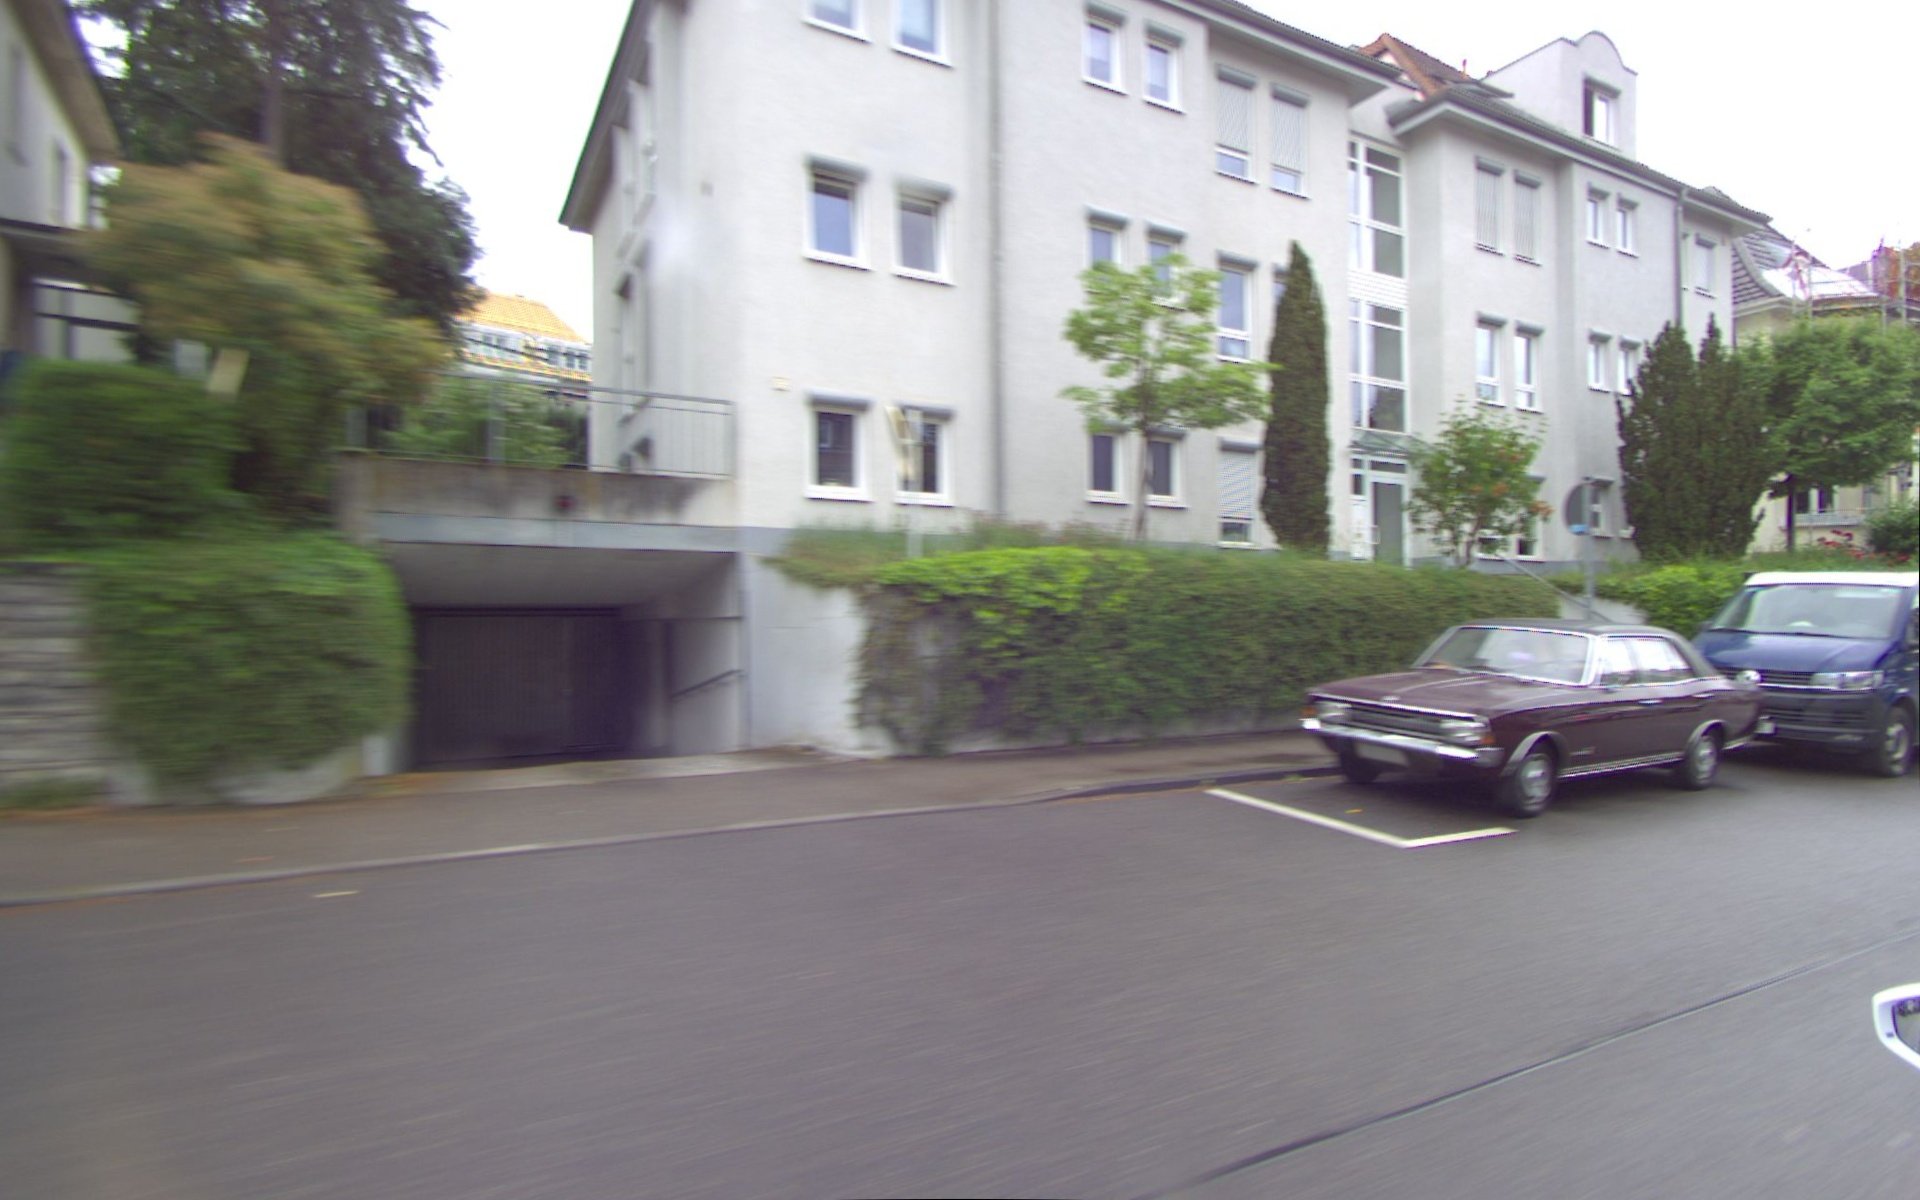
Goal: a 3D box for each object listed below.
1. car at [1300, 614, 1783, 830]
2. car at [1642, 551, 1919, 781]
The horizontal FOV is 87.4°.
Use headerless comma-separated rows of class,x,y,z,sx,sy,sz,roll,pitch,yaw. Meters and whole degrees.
car,5.155,0.865,8.715,4.559,1.436,1.635,1,0,-31
car,9.873,0.641,11.066,4.947,2.083,1.822,1,0,-28
